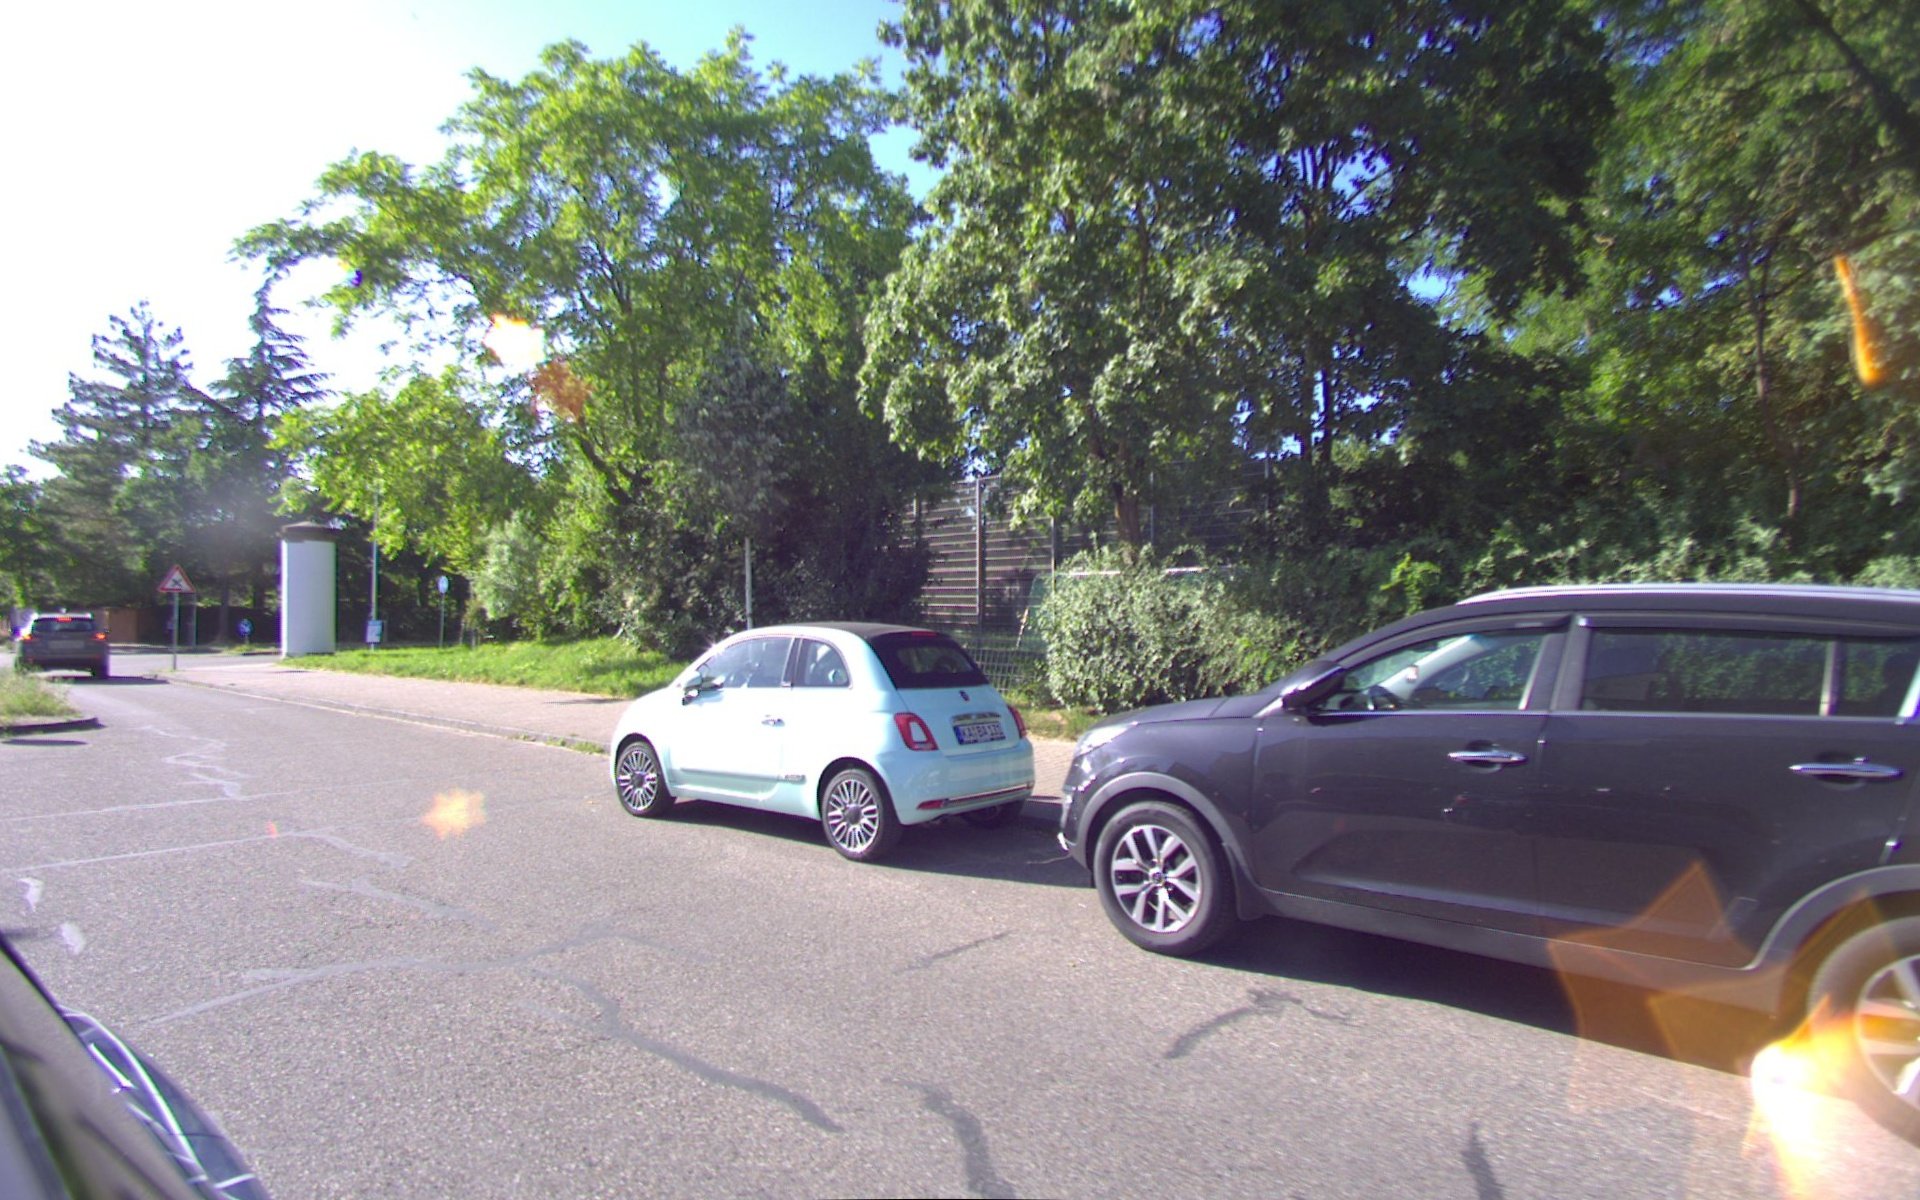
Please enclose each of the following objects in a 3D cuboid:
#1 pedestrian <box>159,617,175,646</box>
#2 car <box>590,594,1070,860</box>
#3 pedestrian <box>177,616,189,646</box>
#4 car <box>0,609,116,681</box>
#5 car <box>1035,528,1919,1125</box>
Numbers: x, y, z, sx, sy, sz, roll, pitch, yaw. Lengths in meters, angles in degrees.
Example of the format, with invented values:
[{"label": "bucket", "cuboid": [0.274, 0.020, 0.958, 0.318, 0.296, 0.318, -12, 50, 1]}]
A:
[{"label": "pedestrian", "cuboid": [-42.739, 1.701, 54.522, 0.393, 1.532, 0.535, 0, -1, 17]}, {"label": "car", "cuboid": [-1.062, 0.763, 7.553, 3.414, 1.539, 1.611, -1, -1, 37]}, {"label": "pedestrian", "cuboid": [-42.002, 1.671, 54.694, 0.539, 1.573, 0.390, 0, -1, 44]}, {"label": "car", "cuboid": [-23.630, 1.118, 26.229, 4.181, 1.718, 1.894, -1, -2, 39]}, {"label": "car", "cuboid": [2.480, 0.662, 4.115, 4.250, 1.651, 1.656, -1, -2, 43]}]
